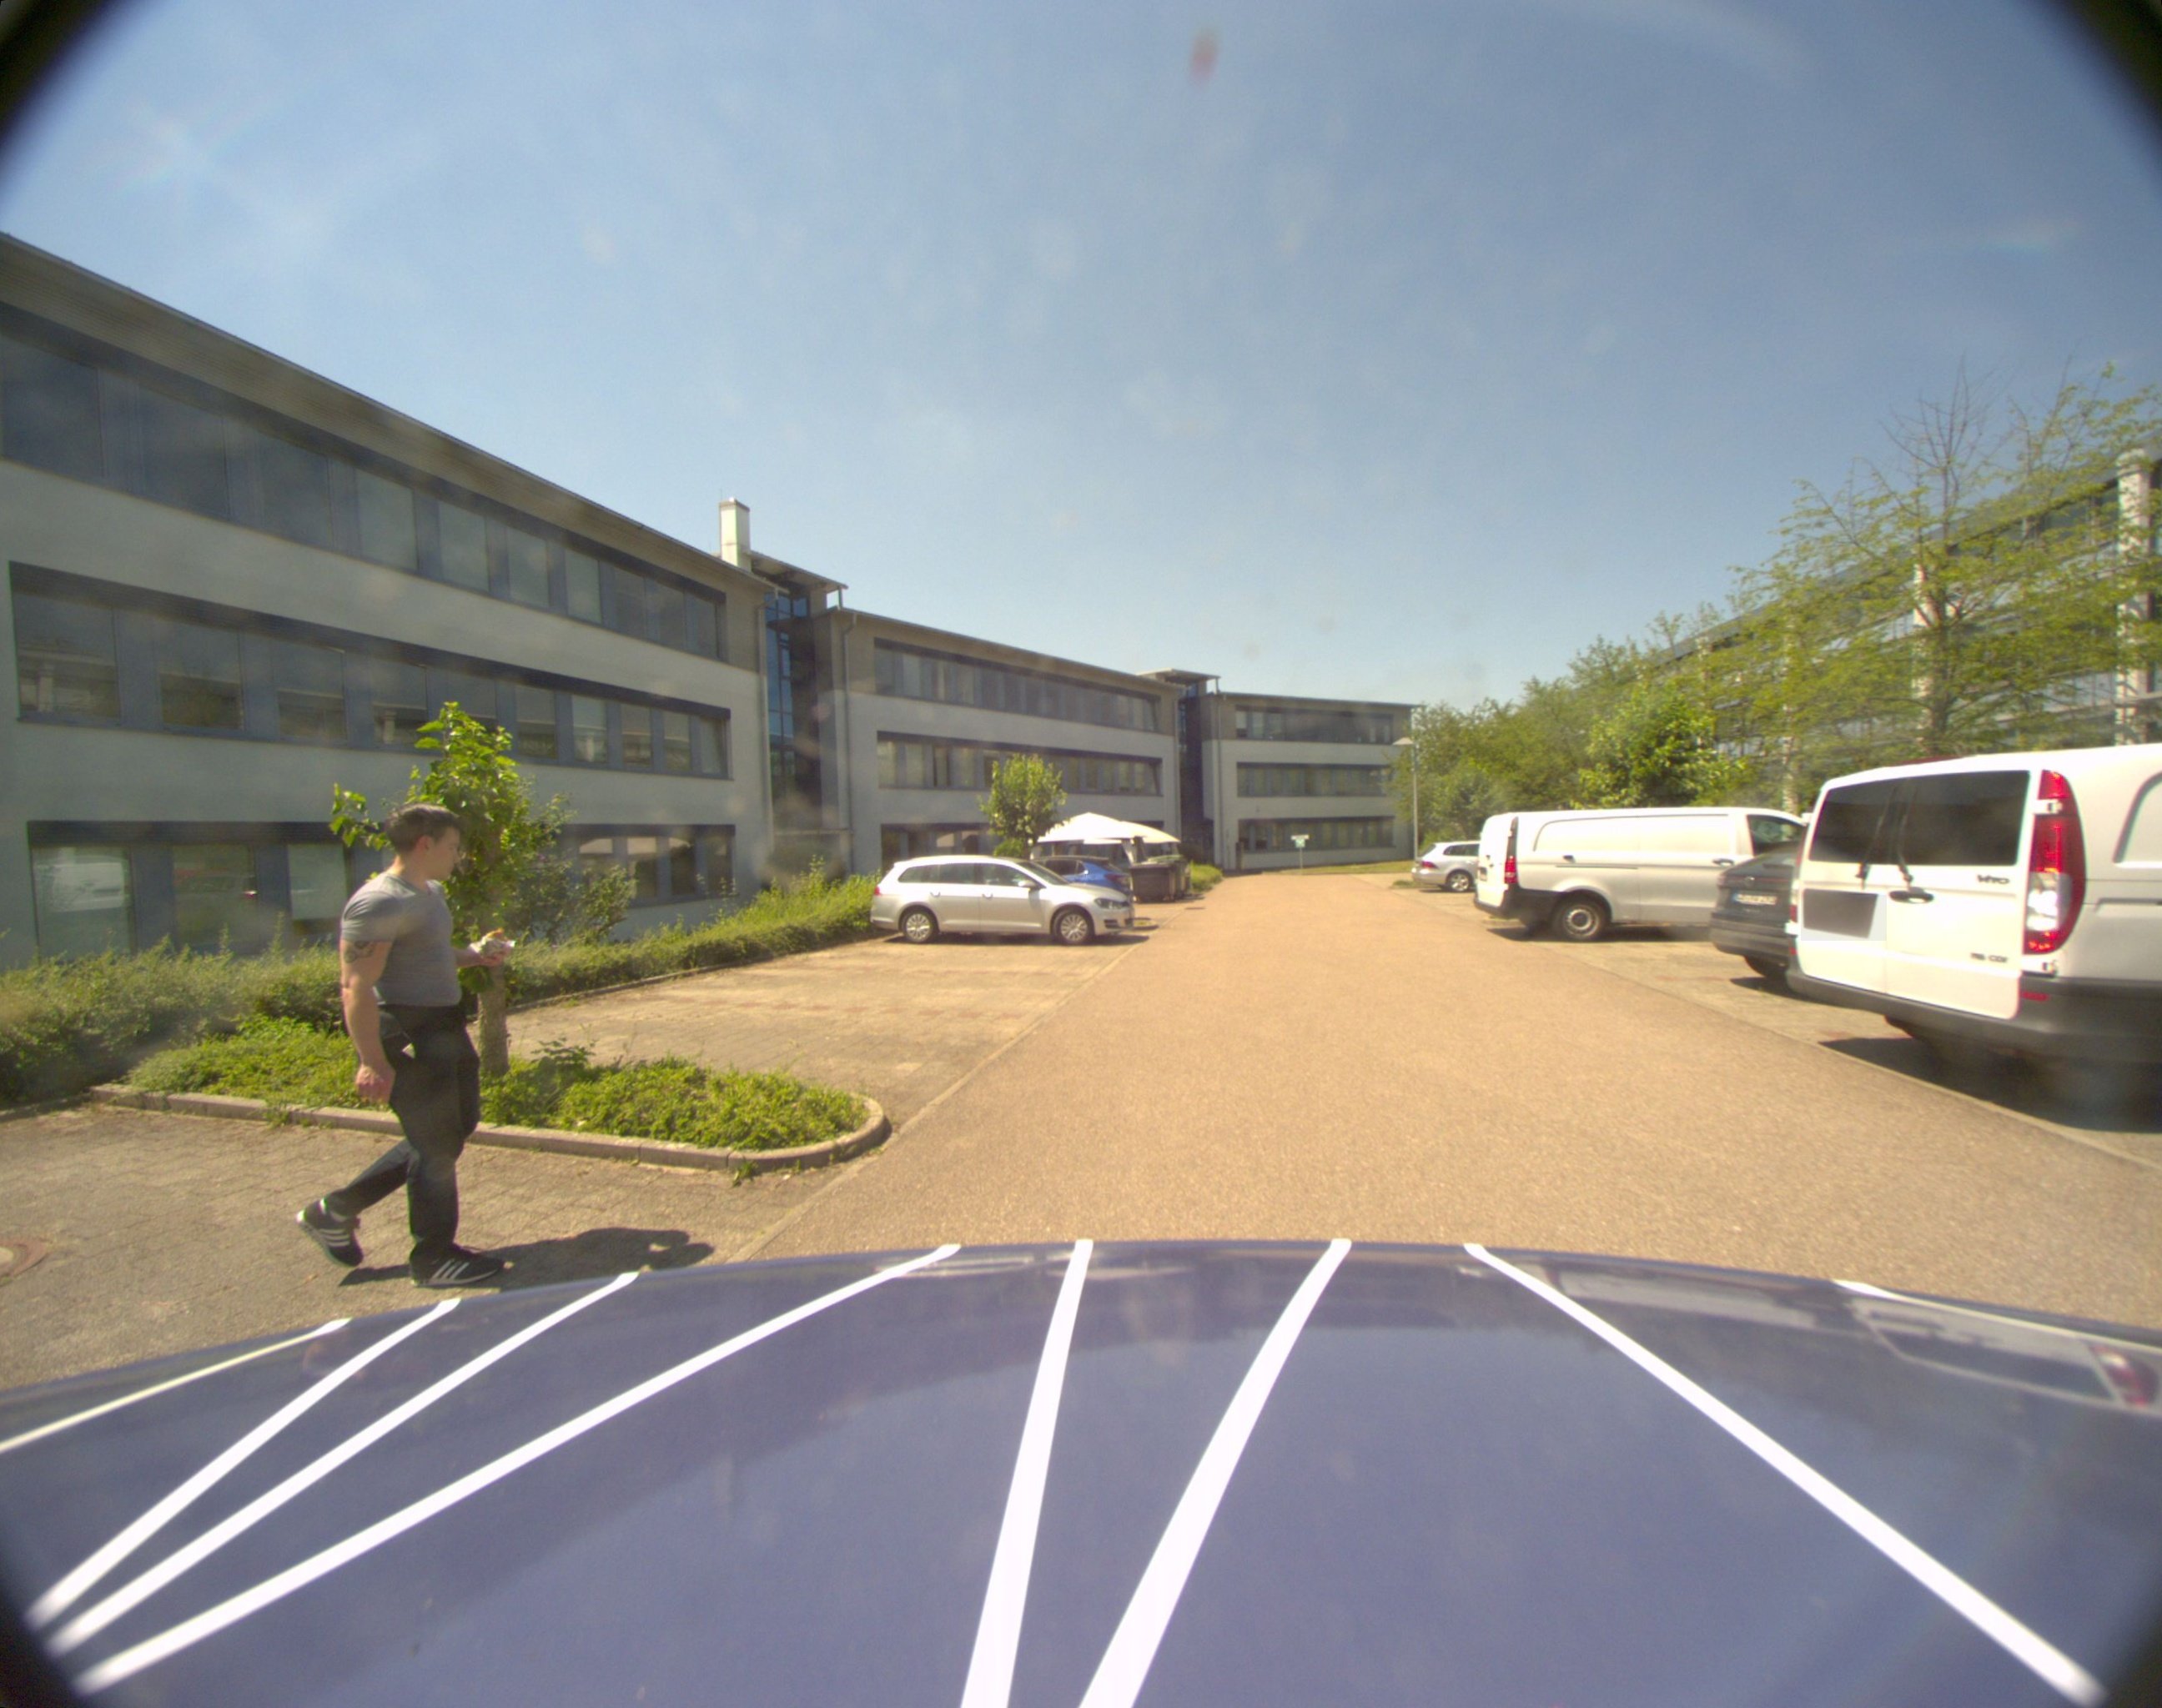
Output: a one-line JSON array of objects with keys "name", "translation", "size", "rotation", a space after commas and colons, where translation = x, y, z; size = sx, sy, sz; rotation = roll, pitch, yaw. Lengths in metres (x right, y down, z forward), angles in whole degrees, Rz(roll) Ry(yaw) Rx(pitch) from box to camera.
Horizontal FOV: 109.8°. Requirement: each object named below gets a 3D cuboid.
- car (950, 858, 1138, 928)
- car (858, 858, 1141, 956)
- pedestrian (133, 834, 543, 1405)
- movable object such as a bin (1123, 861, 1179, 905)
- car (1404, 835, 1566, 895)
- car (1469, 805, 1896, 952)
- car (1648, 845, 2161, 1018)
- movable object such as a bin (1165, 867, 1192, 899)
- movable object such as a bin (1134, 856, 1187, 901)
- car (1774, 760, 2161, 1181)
[{"name": "car", "translation": [-0.765, 0.811, 16.777], "size": [3.820, 1.384, 1.653], "rotation": [0, 1, 12]}, {"name": "car", "translation": [-1.332, 0.853, 13.199], "size": [4.513, 1.489, 1.831], "rotation": [0, 1, 12]}, {"name": "pedestrian", "translation": [-2.545, 0.819, 2.674], "size": [0.787, 1.747, 0.619], "rotation": [-2, 1, 9]}, {"name": "movable object such as a bin", "translation": [2.009, 0.816, 21.665], "size": [1.362, 1.183, 0.998], "rotation": [-1, 1, 18]}, {"name": "car", "translation": [11.392, 0.309, 21.681], "size": [3.759, 1.549, 1.662], "rotation": [-2, 1, 12]}, {"name": "car", "translation": [8.374, 0.357, 11.055], "size": [4.513, 1.871, 1.831], "rotation": [-2, 1, 12]}, {"name": "car", "translation": [7.980, 0.671, 7.222], "size": [3.845, 1.385, 1.578], "rotation": [-2, 1, 12]}, {"name": "movable object such as a bin", "translation": [3.005, 0.898, 23.426], "size": [0.690, 0.944, 0.723], "rotation": [-1, 1, 18]}, {"name": "movable object such as a bin", "translation": [2.383, 0.727, 22.643], "size": [1.362, 1.288, 1.044], "rotation": [-1, 1, 18]}, {"name": "car", "translation": [6.947, 0.460, 3.897], "size": [4.727, 1.895, 1.831], "rotation": [-2, 1, 12]}]
